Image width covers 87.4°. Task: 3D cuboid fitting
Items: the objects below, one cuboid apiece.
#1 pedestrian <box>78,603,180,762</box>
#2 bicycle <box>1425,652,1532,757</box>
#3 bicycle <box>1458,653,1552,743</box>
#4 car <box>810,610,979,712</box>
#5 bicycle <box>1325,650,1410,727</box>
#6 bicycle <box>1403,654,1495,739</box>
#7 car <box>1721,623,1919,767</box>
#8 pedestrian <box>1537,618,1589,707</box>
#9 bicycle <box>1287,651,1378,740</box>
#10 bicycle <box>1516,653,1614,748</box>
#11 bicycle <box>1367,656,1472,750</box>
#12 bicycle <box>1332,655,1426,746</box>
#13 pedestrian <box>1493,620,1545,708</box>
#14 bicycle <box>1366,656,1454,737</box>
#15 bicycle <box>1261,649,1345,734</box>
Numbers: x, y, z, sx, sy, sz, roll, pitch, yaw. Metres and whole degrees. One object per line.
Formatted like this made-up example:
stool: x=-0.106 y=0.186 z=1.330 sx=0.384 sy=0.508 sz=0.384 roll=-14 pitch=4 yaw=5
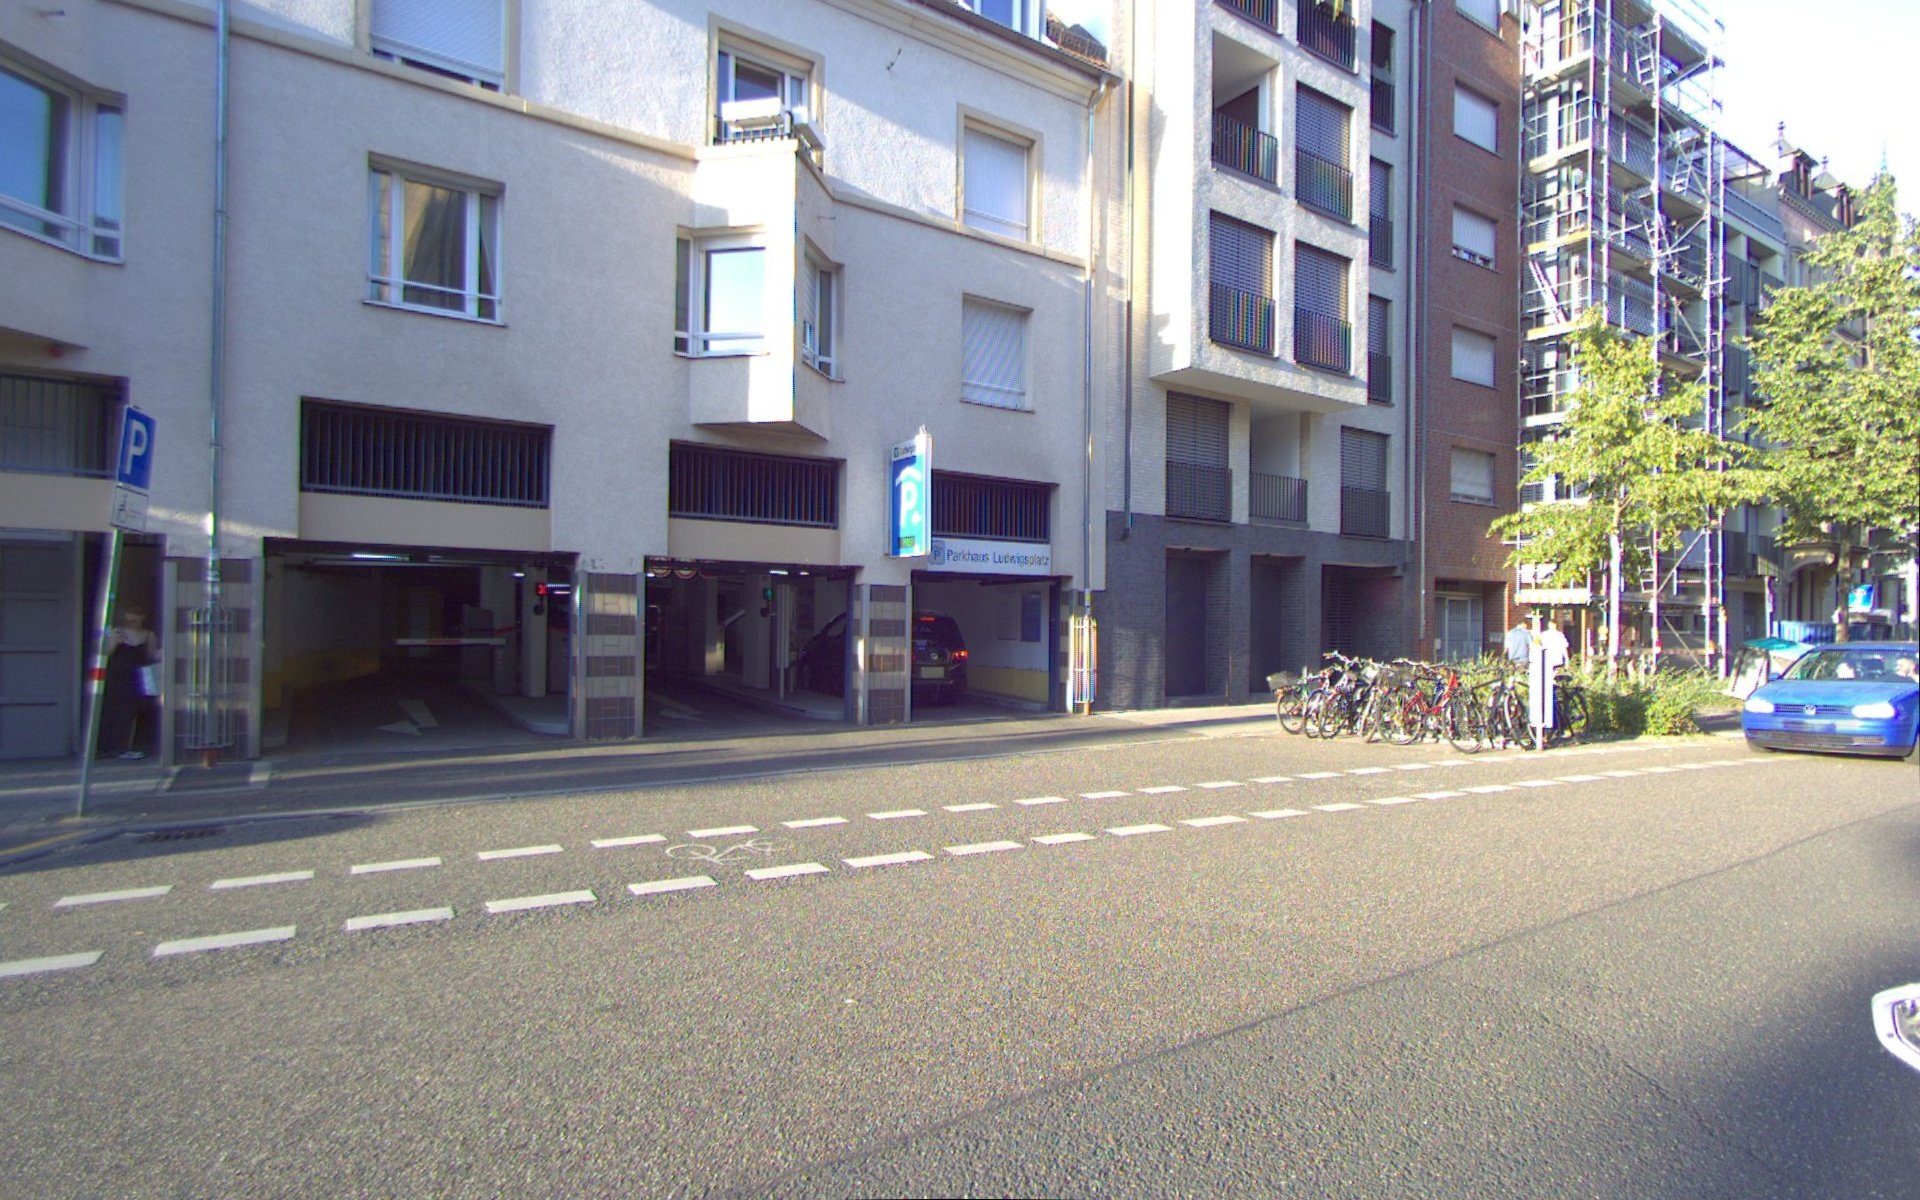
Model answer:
pedestrian: x=-8.693 y=0.836 z=10.515 sx=0.773 sy=1.593 sz=0.527 roll=2 pitch=-2 yaw=-42
bicycle: x=6.527 y=1.279 z=12.617 sx=1.535 sy=1.237 sz=0.494 roll=2 pitch=-1 yaw=-33
bicycle: x=7.660 y=1.349 z=14.090 sx=1.535 sy=1.178 sz=0.484 roll=2 pitch=-1 yaw=-33
car: x=-1.312 y=1.035 z=18.518 sx=1.543 sy=1.639 sz=3.849 roll=1 pitch=-1 yaw=-31
bicycle: x=6.454 y=1.371 z=15.875 sx=1.535 sy=1.147 sz=0.454 roll=2 pitch=-1 yaw=-33
bicycle: x=7.142 y=1.381 z=14.661 sx=1.535 sy=1.165 sz=0.484 roll=2 pitch=-1 yaw=-33
car: x=11.650 y=1.122 z=12.824 sx=4.071 sy=1.583 sz=1.680 roll=2 pitch=-3 yaw=-31
pedestrian: x=12.568 y=1.295 z=20.942 sx=0.650 sy=1.807 sz=0.737 roll=1 pitch=-2 yaw=-34
bicycle: x=5.346 y=1.339 z=14.376 sx=1.535 sy=1.205 sz=0.384 roll=2 pitch=-1 yaw=-33
bicycle: x=8.095 y=1.312 z=13.416 sx=1.535 sy=1.194 sz=0.504 roll=2 pitch=-1 yaw=-33
bicycle: x=6.090 y=1.338 z=13.283 sx=1.533 sy=1.172 sz=0.415 roll=1 pitch=-1 yaw=-28
bicycle: x=5.738 y=1.346 z=13.725 sx=1.535 sy=1.175 sz=0.378 roll=2 pitch=-1 yaw=-33
pedestrian: x=11.718 y=1.325 z=21.063 sx=0.649 sy=1.807 sz=0.737 roll=1 pitch=-2 yaw=-32
bicycle: x=6.866 y=1.442 z=15.311 sx=1.535 sy=1.159 sz=0.464 roll=2 pitch=-1 yaw=-33
bicycle: x=5.080 y=1.327 z=14.845 sx=1.390 sy=1.199 sz=0.385 roll=2 pitch=-1 yaw=-33
